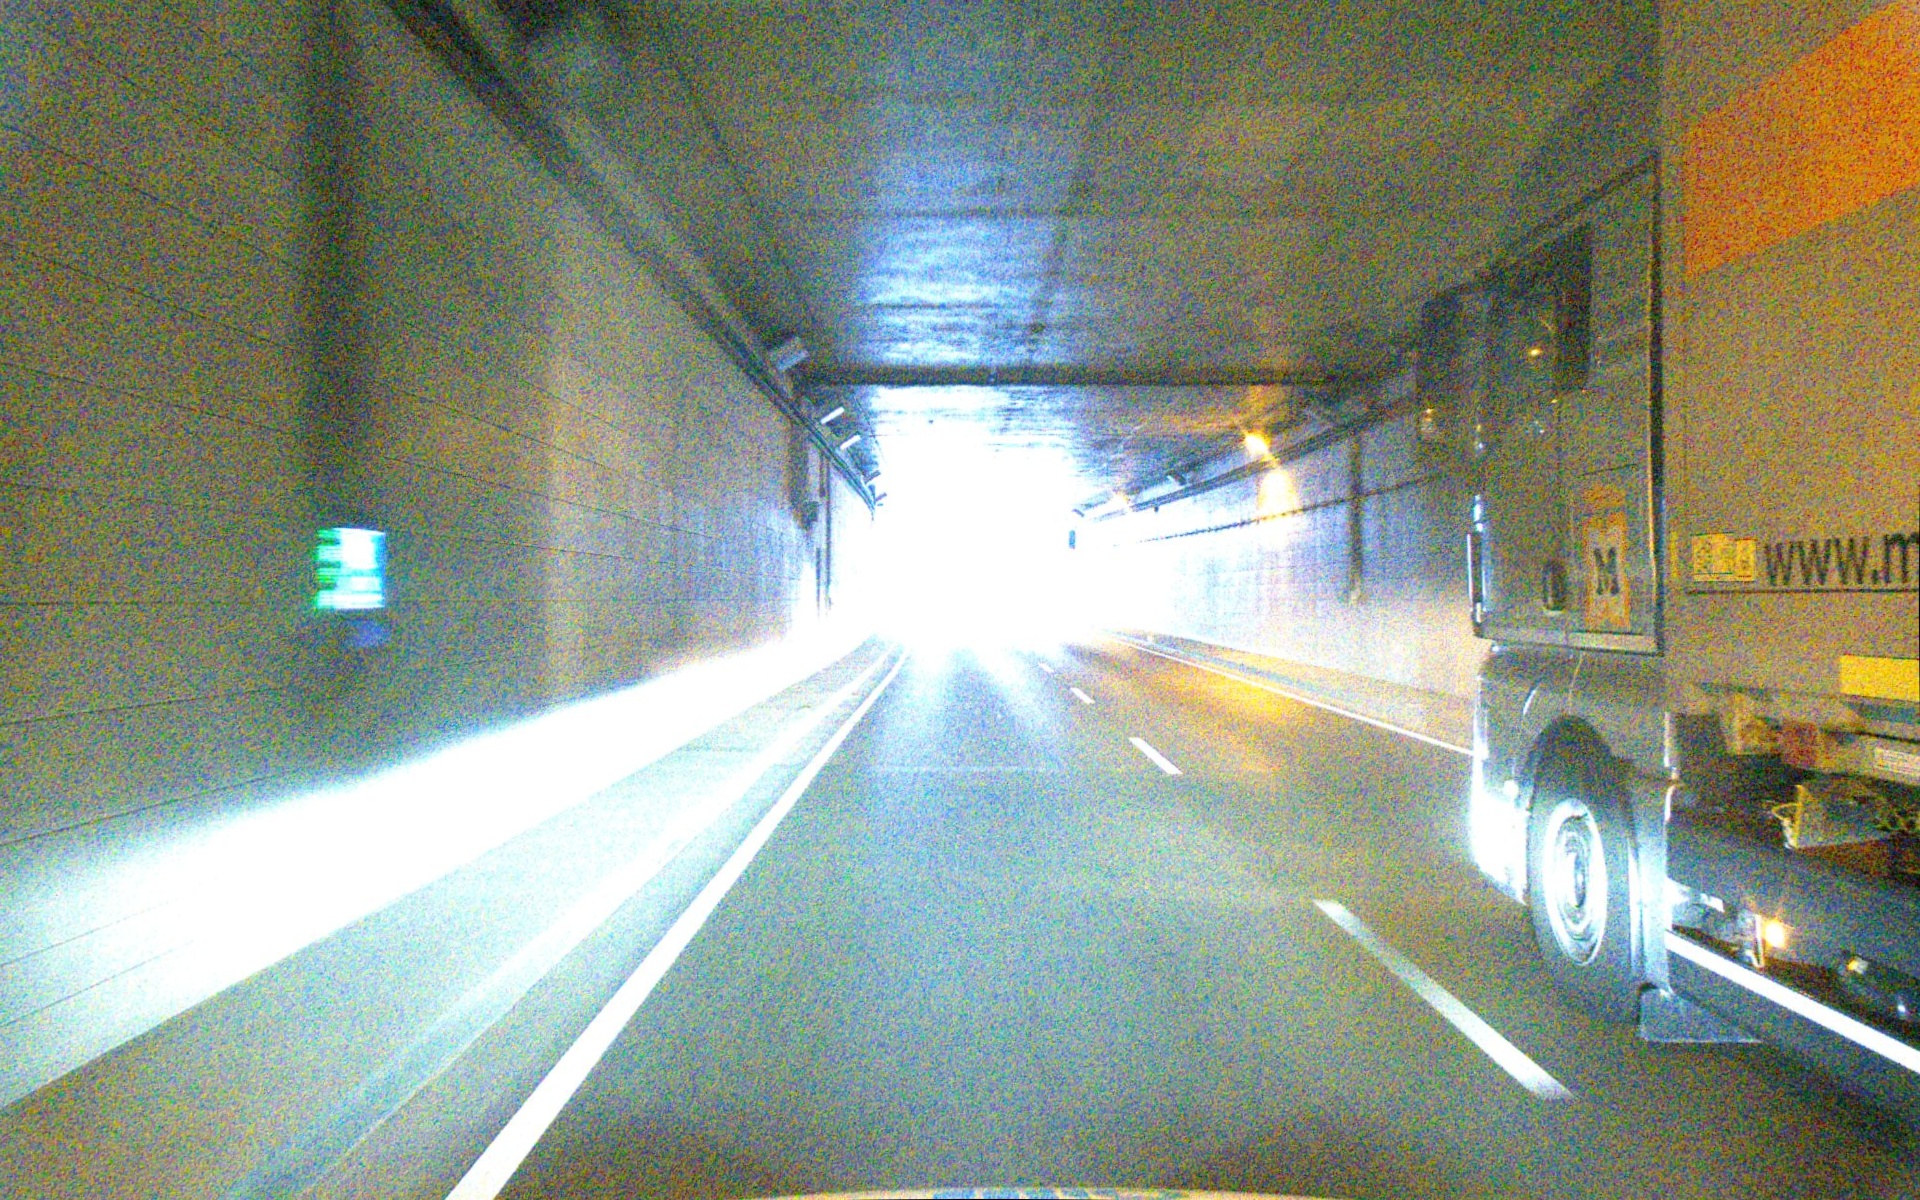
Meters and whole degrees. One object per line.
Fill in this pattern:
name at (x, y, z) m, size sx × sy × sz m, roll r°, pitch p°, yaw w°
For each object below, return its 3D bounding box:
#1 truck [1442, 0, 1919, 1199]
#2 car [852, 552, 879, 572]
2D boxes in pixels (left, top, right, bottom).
truck at (3.568, -0.526, 2.596) m, size 2.829 × 3.982 × 9.910 m, roll 0°, pitch 0°, yaw 1°
car at (-8.866, -3.595, 155.193) m, size 1.837 × 1.763 × 3.986 m, roll 0°, pitch 0°, yaw -14°
